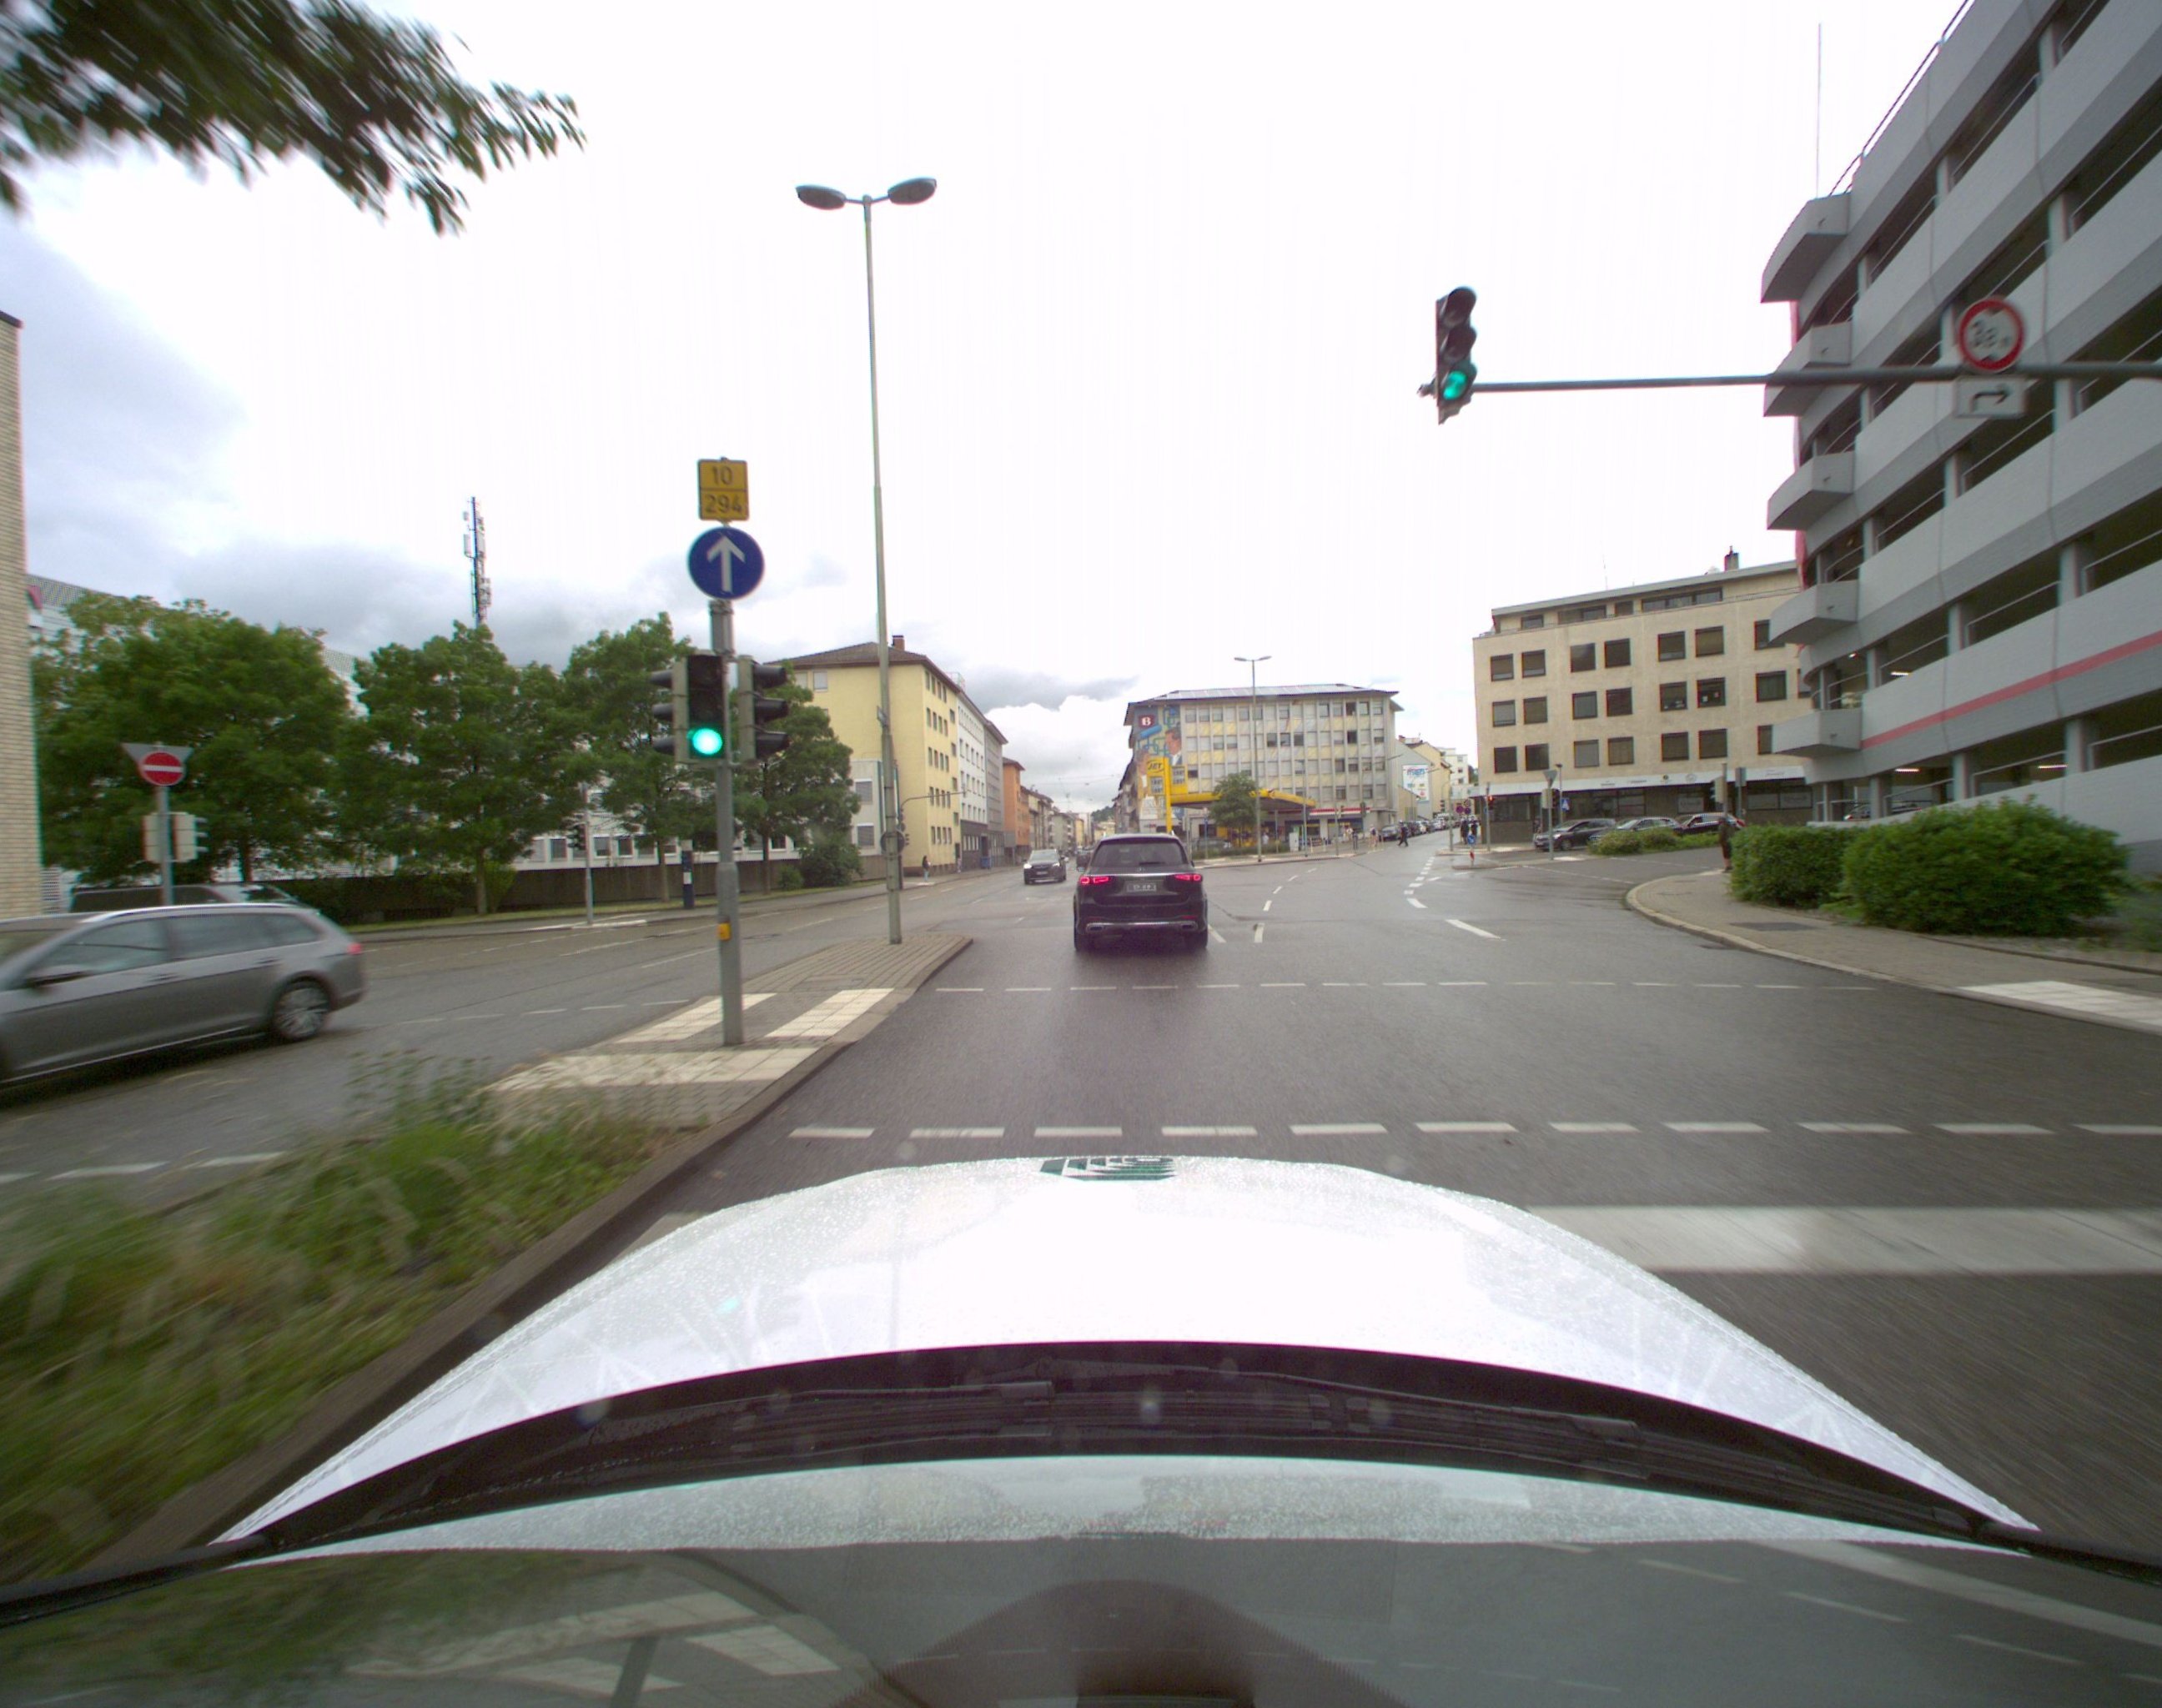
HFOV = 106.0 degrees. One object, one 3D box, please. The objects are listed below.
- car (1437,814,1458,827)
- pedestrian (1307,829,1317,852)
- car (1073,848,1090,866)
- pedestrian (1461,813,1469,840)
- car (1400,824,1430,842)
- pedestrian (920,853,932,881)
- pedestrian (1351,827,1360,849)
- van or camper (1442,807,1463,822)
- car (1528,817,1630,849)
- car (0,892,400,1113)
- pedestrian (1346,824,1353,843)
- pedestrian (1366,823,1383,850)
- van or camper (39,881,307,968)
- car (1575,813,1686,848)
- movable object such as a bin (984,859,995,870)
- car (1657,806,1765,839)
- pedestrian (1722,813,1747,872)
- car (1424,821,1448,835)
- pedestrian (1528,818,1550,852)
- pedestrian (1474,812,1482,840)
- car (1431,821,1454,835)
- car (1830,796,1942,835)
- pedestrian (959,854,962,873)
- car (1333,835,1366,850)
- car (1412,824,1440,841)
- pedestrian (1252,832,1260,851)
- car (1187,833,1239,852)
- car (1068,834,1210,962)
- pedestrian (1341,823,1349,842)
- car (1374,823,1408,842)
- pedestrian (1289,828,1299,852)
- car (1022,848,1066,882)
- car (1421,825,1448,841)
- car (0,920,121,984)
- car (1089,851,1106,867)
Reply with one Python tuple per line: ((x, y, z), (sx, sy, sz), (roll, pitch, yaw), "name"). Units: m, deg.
((52.462, -4.831, 116.537), (1.974, 1.713, 4.413), (-3, 0, 35), "car")
((16.899, -0.998, 59.620), (0.570, 1.697, 0.631), (0, -2, 3), "pedestrian")
((0.121, 0.356, 97.483), (1.987, 2.014, 4.000), (0, -2, 1), "car")
((28.146, -2.015, 59.715), (0.394, 2.014, 0.447), (0, -2, 3), "pedestrian")
((35.395, -2.204, 86.193), (1.974, 1.706, 4.026), (-3, 0, 35), "car")
((-9.777, 0.832, 51.482), (0.627, 1.727, 0.648), (-3, 0, -8), "pedestrian")
((17.837, -1.017, 52.911), (0.394, 1.400, 0.447), (0, -2, 3), "pedestrian")
((55.916, -5.938, 122.608), (1.974, 1.979, 4.543), (-3, 0, 35), "van or camper")
((26.224, -1.081, 43.034), (4.160, 1.439, 1.863), (-3, 0, 8), "car")
((-8.837, 1.235, 7.142), (1.840, 1.429, 4.436), (-4, 0, 1), "car")
((24.240, -1.839, 73.479), (0.478, 1.641, 0.441), (-1, -2, 30), "pedestrian")
((23.841, -1.404, 66.160), (0.853, 2.128, 0.947), (-3, 0, -4), "pedestrian")
((-23.574, 1.803, 21.280), (4.721, 1.931, 2.023), (-2, 0, 1), "van or camper")
((27.256, -1.149, 40.516), (4.160, 1.439, 1.863), (-3, 0, 8), "car")
((-9.107, 1.023, 81.231), (0.906, 1.038, 0.844), (0, -2, 2), "movable object such as a bin")
((33.598, -1.653, 43.517), (4.160, 1.439, 1.863), (-3, 0, 8), "car")
((31.480, -0.555, 39.220), (0.658, 2.832, 0.705), (-2, 0, -38), "pedestrian")
((46.236, -3.348, 105.978), (1.974, 1.706, 4.026), (-3, 0, 35), "car")
((27.416, -1.150, 48.735), (0.875, 2.014, 0.730), (0, -2, 3), "pedestrian")
((29.041, -2.023, 59.550), (0.394, 2.014, 0.447), (0, -2, 3), "pedestrian")
((48.953, -3.490, 110.177), (1.974, 1.706, 4.026), (-3, 0, 35), "car")
((42.658, -2.011, 43.282), (4.091, 1.769, 1.911), (-2, -2, 44), "car")
((-10.804, 0.860, 73.036), (0.244, 1.624, 0.411), (0, -2, 3), "pedestrian")
((28.424, -1.164, 86.187), (1.974, 1.398, 4.024), (-2, -2, 40), "car")
((38.620, -2.415, 91.087), (1.974, 1.706, 4.026), (-3, 0, 35), "car")
((16.180, -1.195, 75.260), (0.521, 1.727, 0.693), (-2, 0, 31), "pedestrian")
((11.011, -0.949, 68.081), (1.747, 1.376, 3.951), (-3, 0, -42), "car")
((0.885, 0.668, 13.468), (1.986, 1.800, 4.001), (0, -1, 2), "car")
((24.648, -2.005, 75.935), (0.521, 1.727, 0.693), (-2, 0, 28), "pedestrian")
((29.630, -2.054, 77.843), (1.974, 1.706, 4.026), (-3, 0, 35), "car")
((15.997, -1.057, 61.279), (0.521, 1.727, 0.693), (-2, 0, 28), "pedestrian")
((-1.757, 0.563, 39.975), (1.988, 1.614, 4.187), (0, -1, -1), "car")
((41.515, -2.496, 95.600), (1.974, 1.706, 4.026), (-3, 0, 35), "car")
((-24.942, 2.259, 18.430), (4.242, 1.209, 1.850), (-2, 0, 1), "car")
((1.704, 0.506, 83.600), (1.678, 1.596, 4.000), (0, -1, 1), "car")
